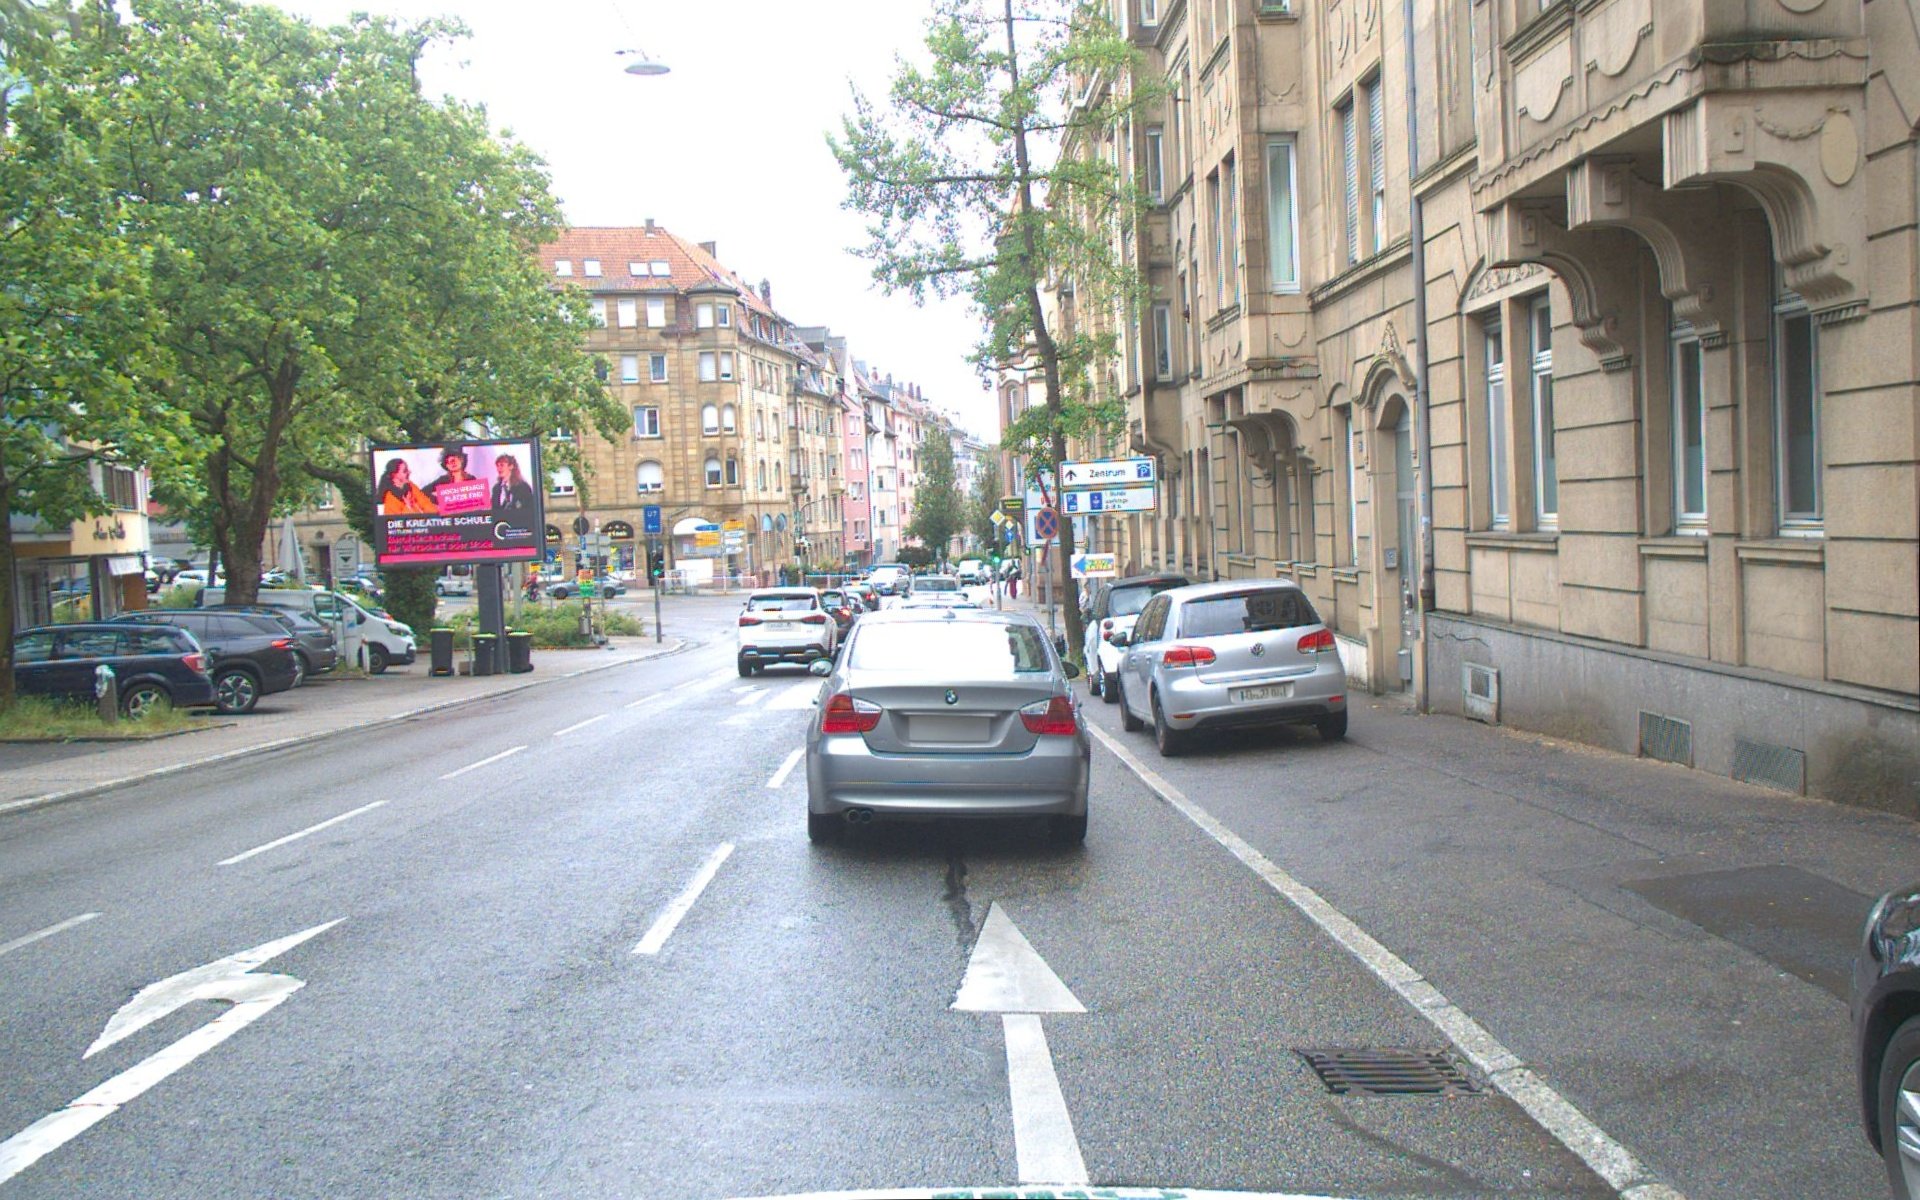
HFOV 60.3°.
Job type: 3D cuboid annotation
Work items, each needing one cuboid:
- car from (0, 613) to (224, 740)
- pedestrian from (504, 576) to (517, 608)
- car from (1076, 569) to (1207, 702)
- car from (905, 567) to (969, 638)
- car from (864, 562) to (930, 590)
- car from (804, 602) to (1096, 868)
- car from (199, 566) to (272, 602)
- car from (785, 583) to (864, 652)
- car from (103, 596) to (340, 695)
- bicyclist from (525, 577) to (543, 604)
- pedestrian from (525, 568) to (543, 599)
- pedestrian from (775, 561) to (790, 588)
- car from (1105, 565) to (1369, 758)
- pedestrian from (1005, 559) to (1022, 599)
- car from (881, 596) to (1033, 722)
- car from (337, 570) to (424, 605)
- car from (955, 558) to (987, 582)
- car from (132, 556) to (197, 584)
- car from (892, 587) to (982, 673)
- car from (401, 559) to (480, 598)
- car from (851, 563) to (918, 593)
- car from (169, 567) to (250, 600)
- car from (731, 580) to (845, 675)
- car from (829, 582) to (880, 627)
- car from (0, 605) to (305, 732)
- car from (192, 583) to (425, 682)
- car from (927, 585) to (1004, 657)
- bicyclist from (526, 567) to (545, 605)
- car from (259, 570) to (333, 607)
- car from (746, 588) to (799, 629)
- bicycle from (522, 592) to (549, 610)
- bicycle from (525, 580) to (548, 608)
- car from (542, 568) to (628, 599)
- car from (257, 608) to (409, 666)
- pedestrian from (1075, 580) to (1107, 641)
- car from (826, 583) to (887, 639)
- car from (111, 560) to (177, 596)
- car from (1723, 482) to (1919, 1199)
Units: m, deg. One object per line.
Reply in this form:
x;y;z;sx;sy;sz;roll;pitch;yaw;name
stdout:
-13.012;1.096;23.834;4.299;1.601;1.929;-3;0;-24;car
-23.374;-0.412;86.002;0.577;1.663;0.390;1;-1;-1;pedestrian
2.425;0.444;22.669;1.273;1.569;2.975;-6;0;-1;car
-0.727;0.075;52.156;1.953;2.143;3.999;0;0;-1;car
-4.946;-1.852;129.745;5.072;2.049;2.698;1;-1;-1;car
-0.044;0.748;10.909;1.590;1.407;3.615;-1;0;0;car
-45.393;-1.032;103.612;4.196;2.138;1.998;2;2;28;car
-3.586;0.434;44.350;1.723;1.737;4.000;-1;0;0;car
-15.008;0.893;33.871;4.295;1.815;1.927;-2;0;-22;car
-21.274;-0.465;82.612;0.557;1.295;0.689;1;-1;20;bicyclist
-21.901;-0.851;85.091;0.525;1.605;0.719;-2;0;22;pedestrian
-10.795;-1.533;100.570;0.716;1.605;0.528;-1;0;8;pedestrian
2.558;0.515;16.219;1.725;1.476;3.999;-6;0;-1;car
2.618;-1.047;81.078;0.727;1.943;0.659;-2;0;-2;pedestrian
-0.023;0.672;20.958;1.723;1.407;4.000;-1;0;0;car
-29.967;-0.674;85.525;4.157;1.756;1.997;1;2;30;car
0.809;-2.121;118.268;1.951;1.606;4.002;1;0;5;car
-51.315;-1.915;106.631;3.909;1.718;1.726;1;-1;27;car
-0.400;0.522;31.597;1.562;1.490;4.000;1;1;0;car
-30.167;-1.258;96.055;4.196;2.138;1.998;2;2;28;car
-4.261;-1.230;93.847;1.957;1.606;3.991;1;-1;31;car
-41.725;-0.915;91.942;4.155;1.756;1.998;0;3;29;car
-3.301;0.494;32.422;1.830;1.654;3.999;-3;0;-1;car
-4.171;0.153;65.690;1.723;1.737;4.000;-1;0;0;car
-12.870;1.034;26.532;4.308;1.701;1.842;-3;0;-24;car
-15.367;0.736;39.219;4.989;2.142;1.979;-2;0;-22;car
0.085;0.459;39.950;1.724;1.594;3.999;-1;1;-2;car
-21.237;-0.695;82.758;0.767;1.852;0.769;-3;0;-6;bicyclist
-40.707;-0.709;101.451;4.196;2.138;1.998;2;2;28;car
-7.234;0.315;64.047;1.680;1.476;3.741;-2;0;-1;car
-21.217;0.034;82.755;0.561;0.873;1.522;1;-1;18;bicycle
-21.243;-0.298;82.940;0.658;1.343;2.273;-3;1;-4;bicycle
-20.765;-0.881;91.750;4.556;1.606;1.995;1;-1;-11;car
-17.688;1.018;46.718;3.916;1.476;1.757;-2;0;-22;car
3.439;0.266;43.430;0.618;1.534;0.693;-6;0;-2;pedestrian
-3.337;0.331;53.943;1.723;1.737;4.000;-1;0;0;car
-47.372;-1.273;96.016;3.913;2.049;1.573;0;1;31;car
2.732;0.532;1.839;1.724;1.679;4.098;-6;0;0;car
